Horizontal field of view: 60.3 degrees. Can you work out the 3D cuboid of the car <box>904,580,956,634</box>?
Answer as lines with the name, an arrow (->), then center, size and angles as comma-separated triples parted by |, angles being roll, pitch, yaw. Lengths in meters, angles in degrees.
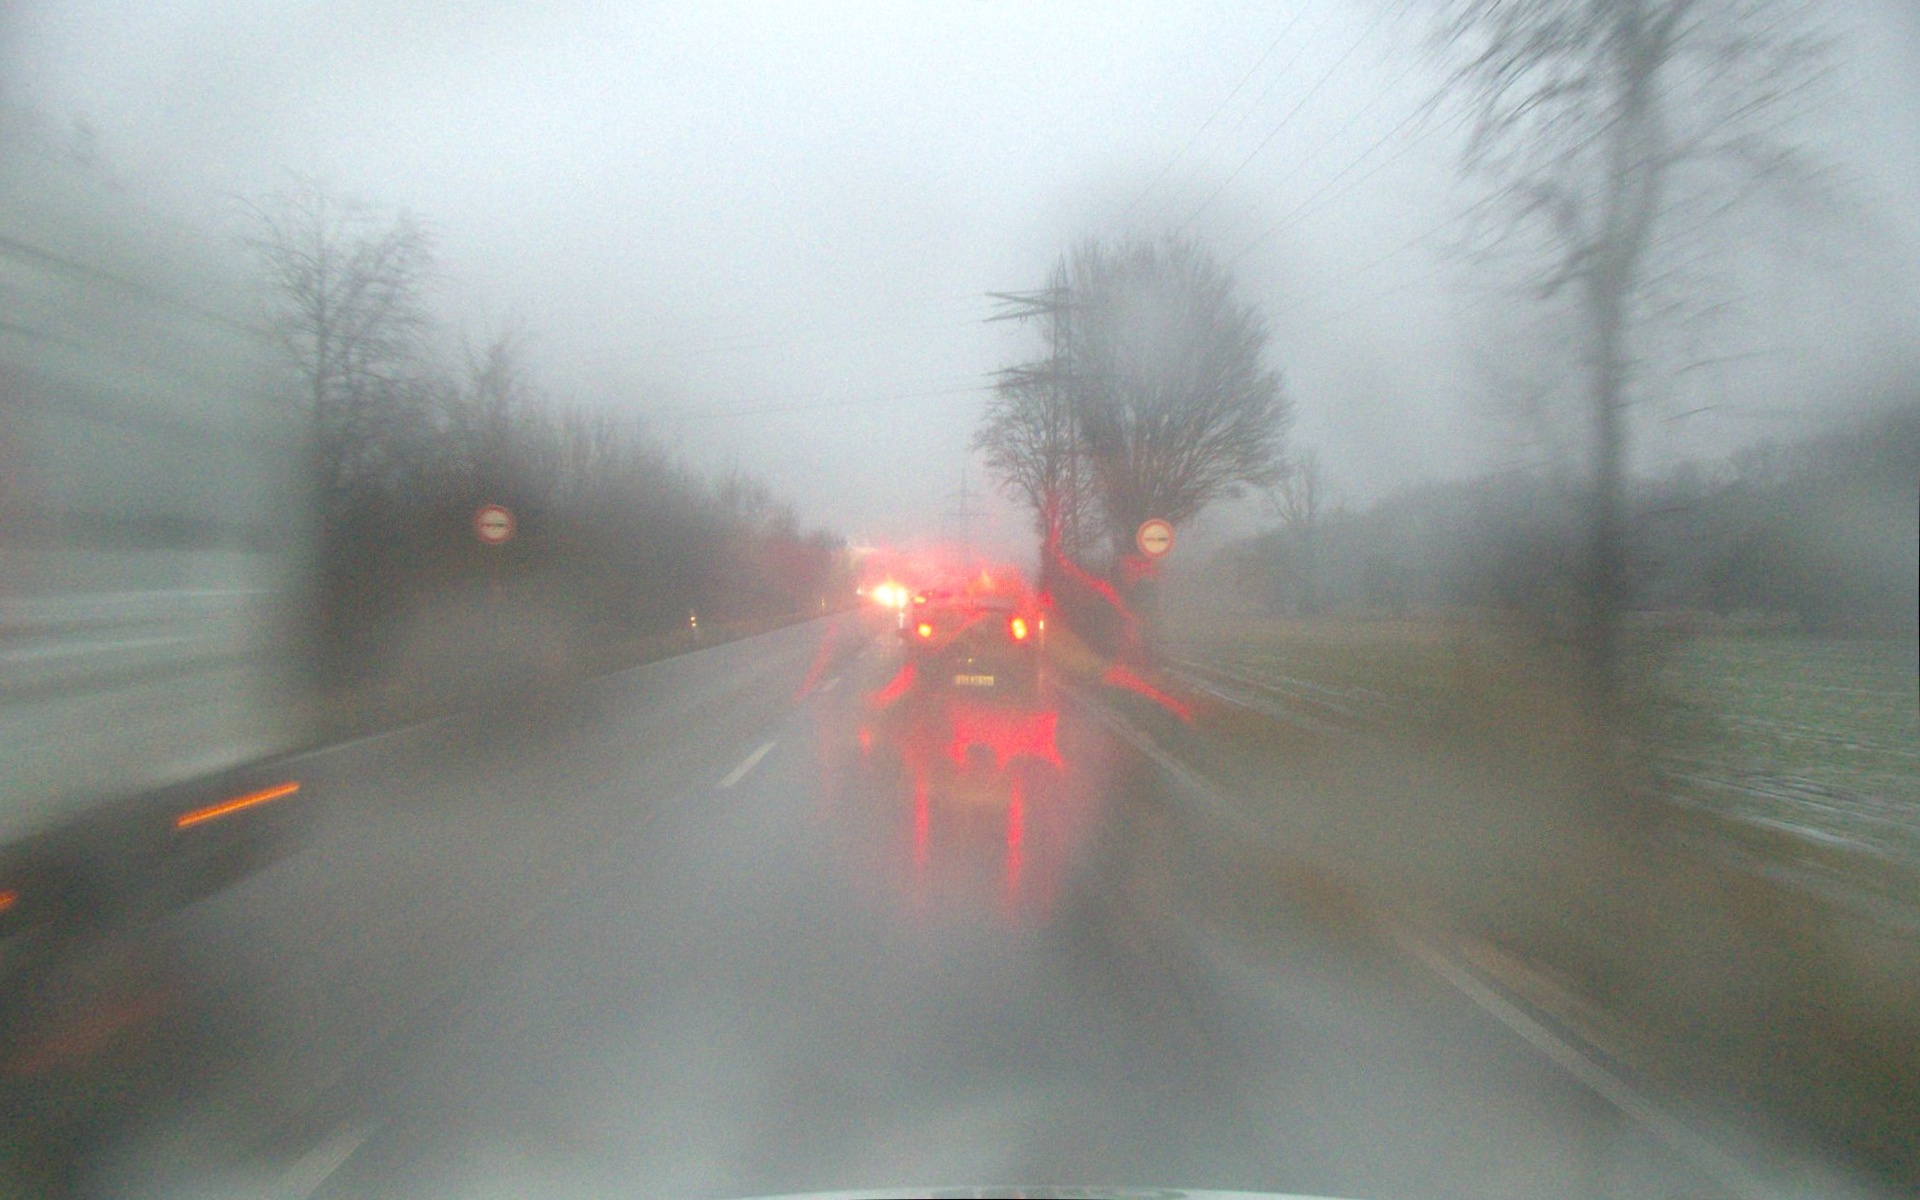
car -> -1.163, 0.266, 65.170 | 1.953, 2.049, 4.000 | 0, 0, 0

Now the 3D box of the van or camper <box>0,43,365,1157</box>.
van or camper -> -3.416, 0.003, 3.464 | 1.980, 2.825, 6.742 | 0, 0, -1

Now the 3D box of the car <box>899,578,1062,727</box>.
car -> 0.209, 0.635, 21.865 | 1.953, 1.783, 3.999 | 0, 0, -1
